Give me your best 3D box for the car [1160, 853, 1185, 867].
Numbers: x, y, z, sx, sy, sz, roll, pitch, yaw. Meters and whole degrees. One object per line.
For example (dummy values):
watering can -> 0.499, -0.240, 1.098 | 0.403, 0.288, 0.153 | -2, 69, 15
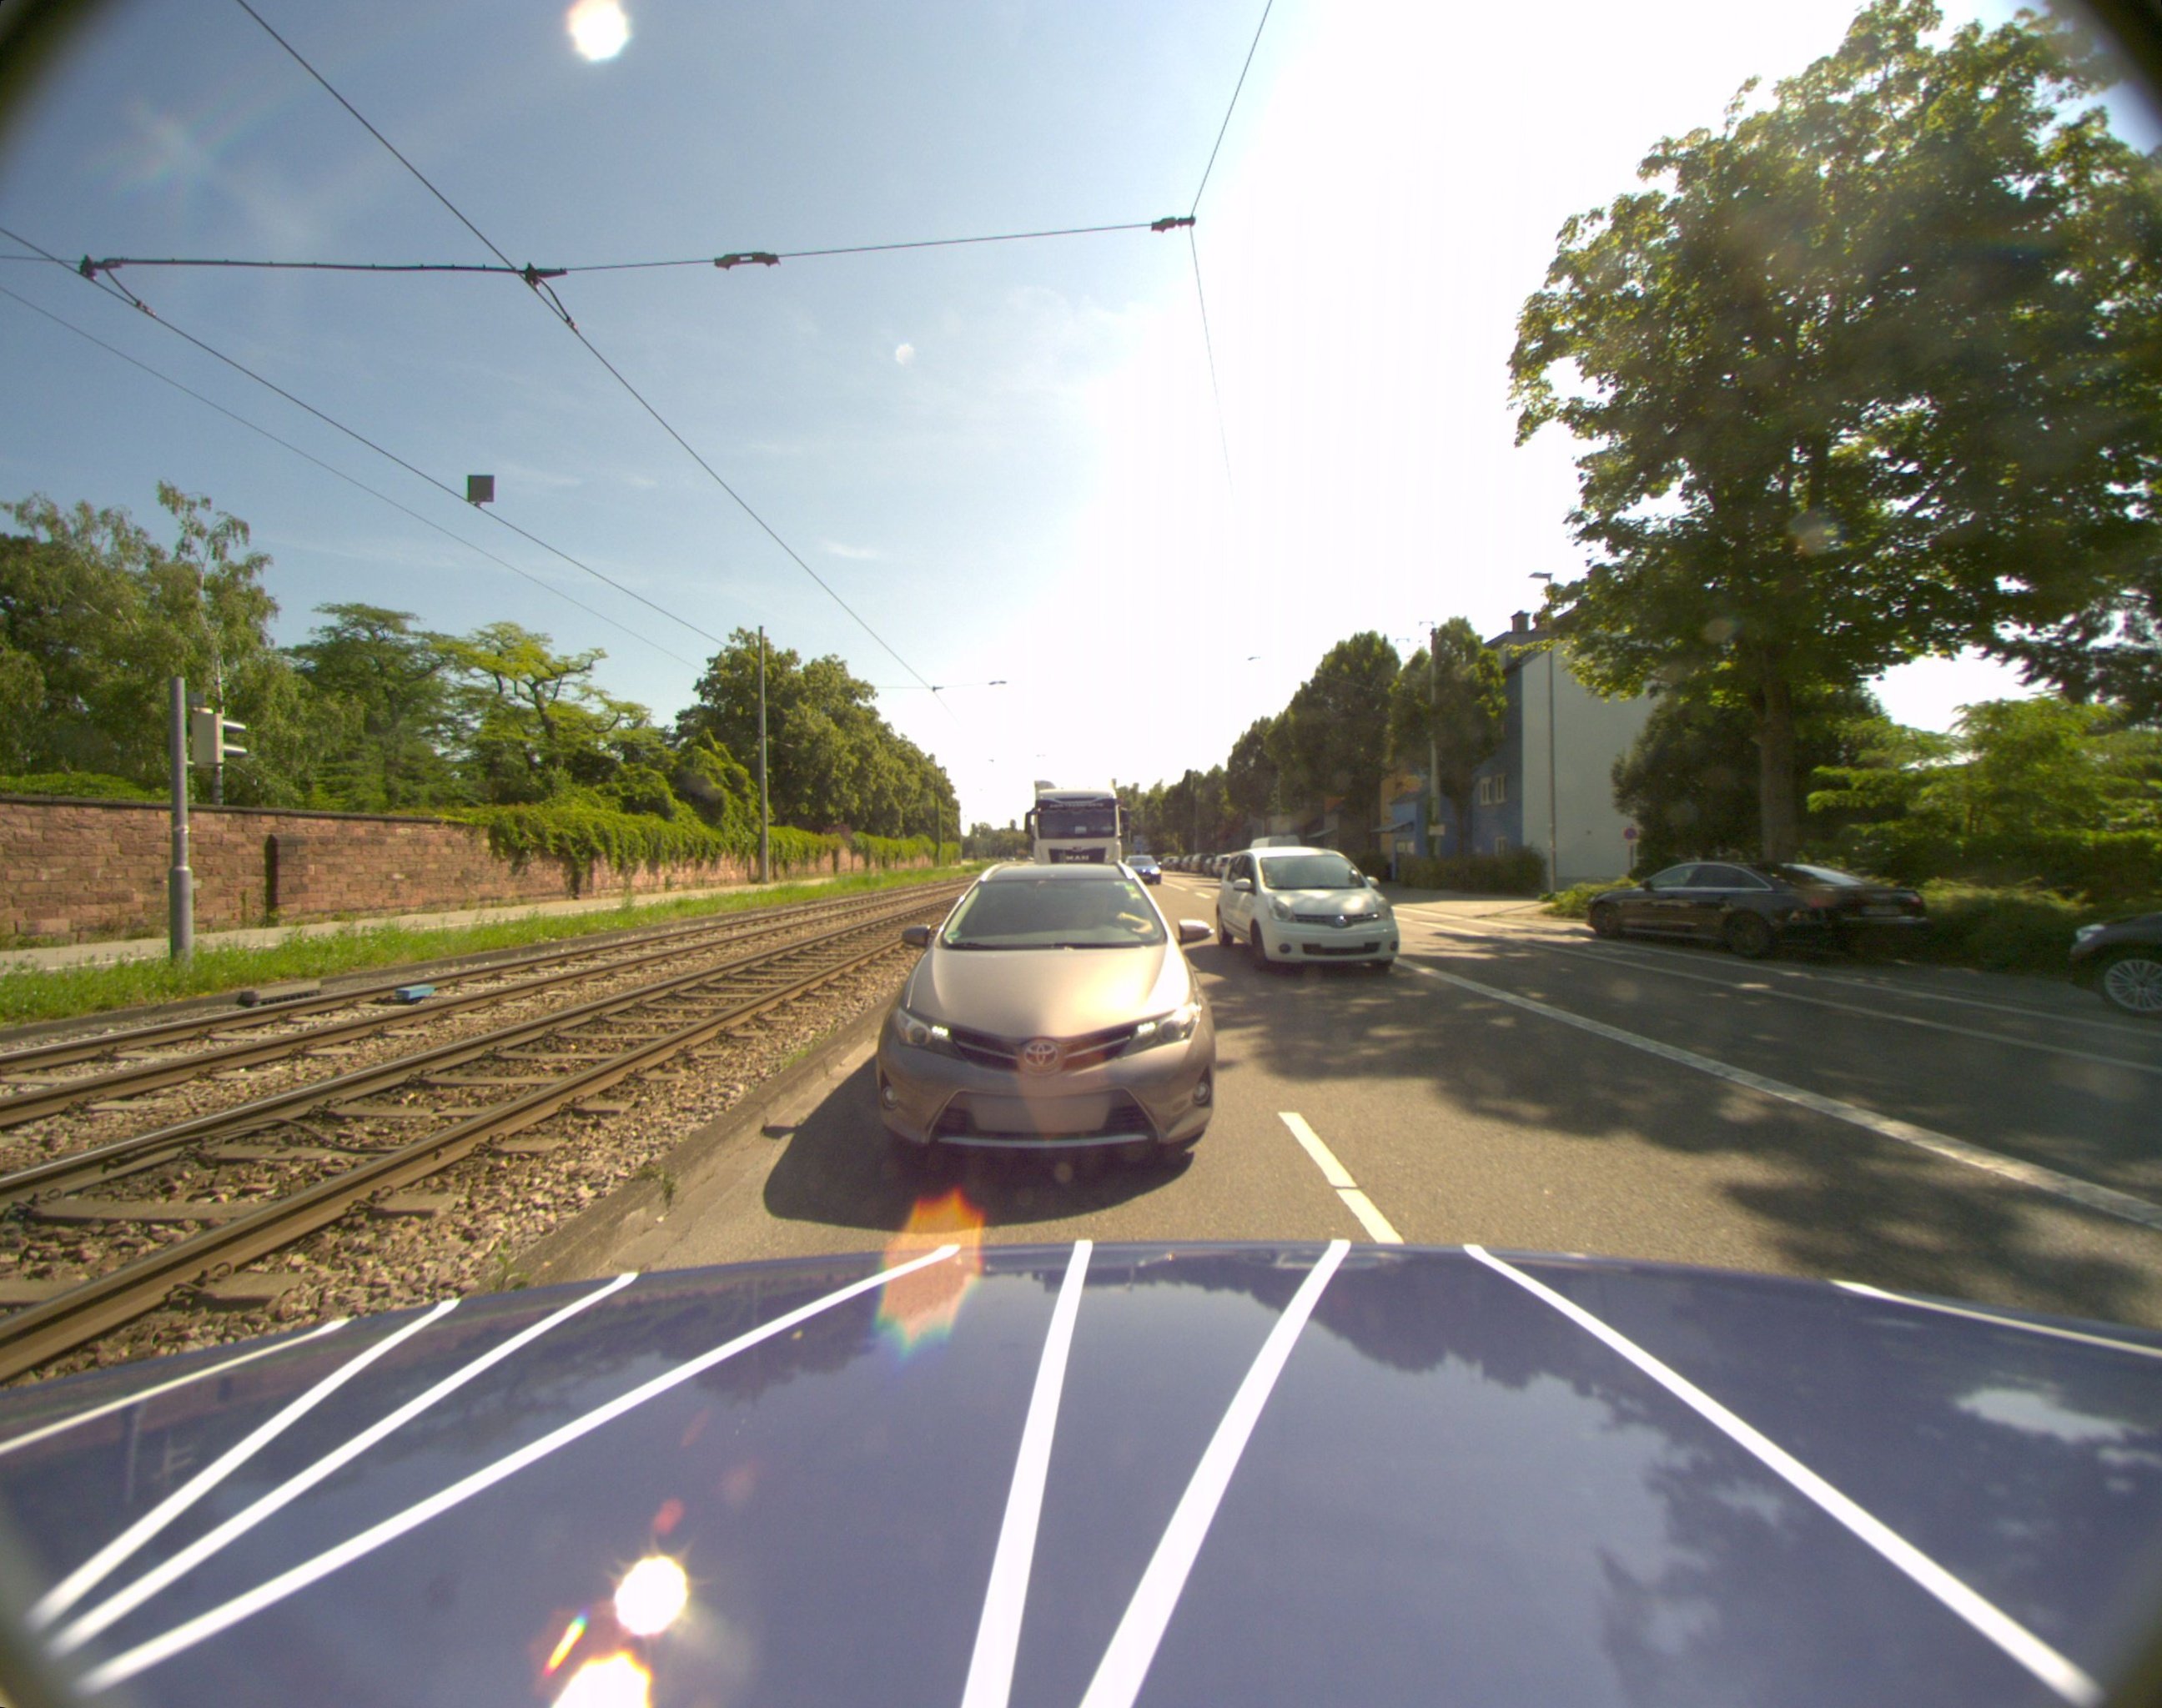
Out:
car -> 10.305, 0.652, 85.739 | 1.682, 1.437, 4.835 | -2, 1, -6

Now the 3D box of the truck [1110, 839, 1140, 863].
truck -> 6.679, -0.408, 117.081 | 3.165, 3.533, 8.779 | 0, 0, -6

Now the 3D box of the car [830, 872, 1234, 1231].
car -> -0.184, 0.936, 5.880 | 1.747, 1.421, 5.041 | -1, 0, 1

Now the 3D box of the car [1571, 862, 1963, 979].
car -> 10.615, 0.895, 12.445 | 1.845, 1.457, 4.908 | 0, 0, -3

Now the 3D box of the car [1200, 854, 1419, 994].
car -> 2.967, 0.804, 10.907 | 1.784, 1.538, 4.394 | -2, 0, 0

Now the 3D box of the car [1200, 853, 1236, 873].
car -> 11.207, 0.712, 62.386 | 1.871, 1.447, 4.074 | -4, 1, -3

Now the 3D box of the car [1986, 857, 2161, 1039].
car -> 10.559, 0.849, 5.685 | 1.766, 1.596, 4.893 | -1, 0, 0

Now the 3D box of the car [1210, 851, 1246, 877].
car -> 11.006, 0.736, 57.196 | 1.853, 1.693, 4.540 | -4, 1, 1

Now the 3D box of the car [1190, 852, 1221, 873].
car -> 11.045, 0.700, 67.664 | 1.834, 1.718, 4.348 | -3, 1, -3

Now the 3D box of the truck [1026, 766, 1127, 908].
truck -> -0.046, -0.487, 26.944 | 2.805, 3.926, 11.943 | 0, 0, 1

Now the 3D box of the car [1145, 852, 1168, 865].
car -> 9.599, 0.569, 97.101 | 1.911, 1.567, 4.929 | -2, 1, -6

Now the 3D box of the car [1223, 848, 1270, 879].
car -> 11.206, 0.631, 51.757 | 1.998, 1.855, 4.966 | -5, 0, 1

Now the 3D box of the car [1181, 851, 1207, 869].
car -> 10.785, 0.527, 72.719 | 1.681, 1.598, 4.164 | -2, 1, -3

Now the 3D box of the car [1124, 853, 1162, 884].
car -> 3.175, 0.717, 39.234 | 1.659, 1.517, 3.792 | 0, 0, 0

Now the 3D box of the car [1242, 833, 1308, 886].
car -> 10.996, 0.277, 43.605 | 1.998, 2.661, 7.086 | -4, 0, 1

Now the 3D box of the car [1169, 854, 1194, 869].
car -> 10.418, 0.784, 79.012 | 1.681, 1.462, 4.212 | -2, 1, -4
